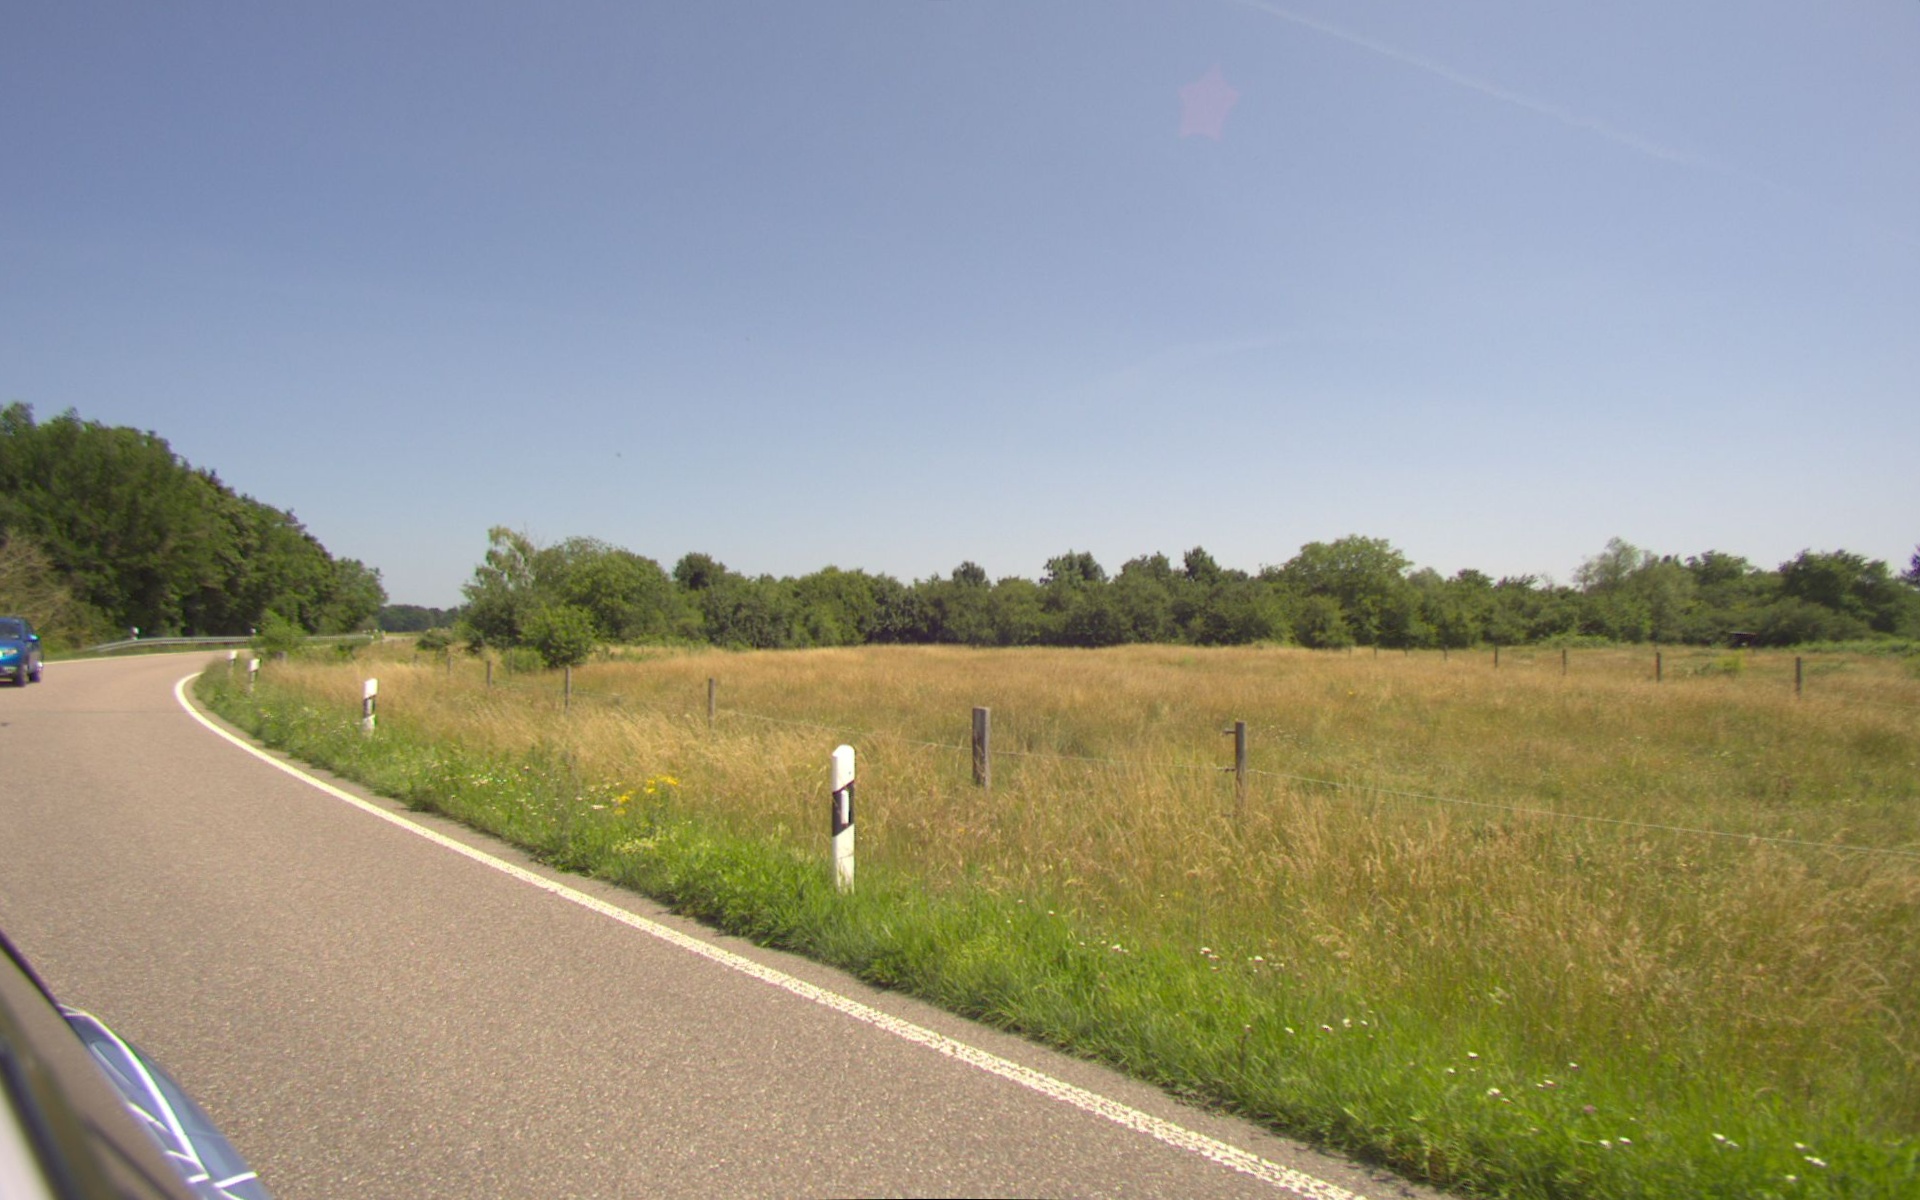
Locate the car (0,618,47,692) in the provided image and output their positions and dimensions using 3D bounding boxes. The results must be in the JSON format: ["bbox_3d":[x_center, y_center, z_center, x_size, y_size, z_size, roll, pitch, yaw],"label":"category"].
[{"bbox_3d":[-22.454,1.204,23.237,1.707,1.593,4.009,4,-4,-36],"label":"car"}]
